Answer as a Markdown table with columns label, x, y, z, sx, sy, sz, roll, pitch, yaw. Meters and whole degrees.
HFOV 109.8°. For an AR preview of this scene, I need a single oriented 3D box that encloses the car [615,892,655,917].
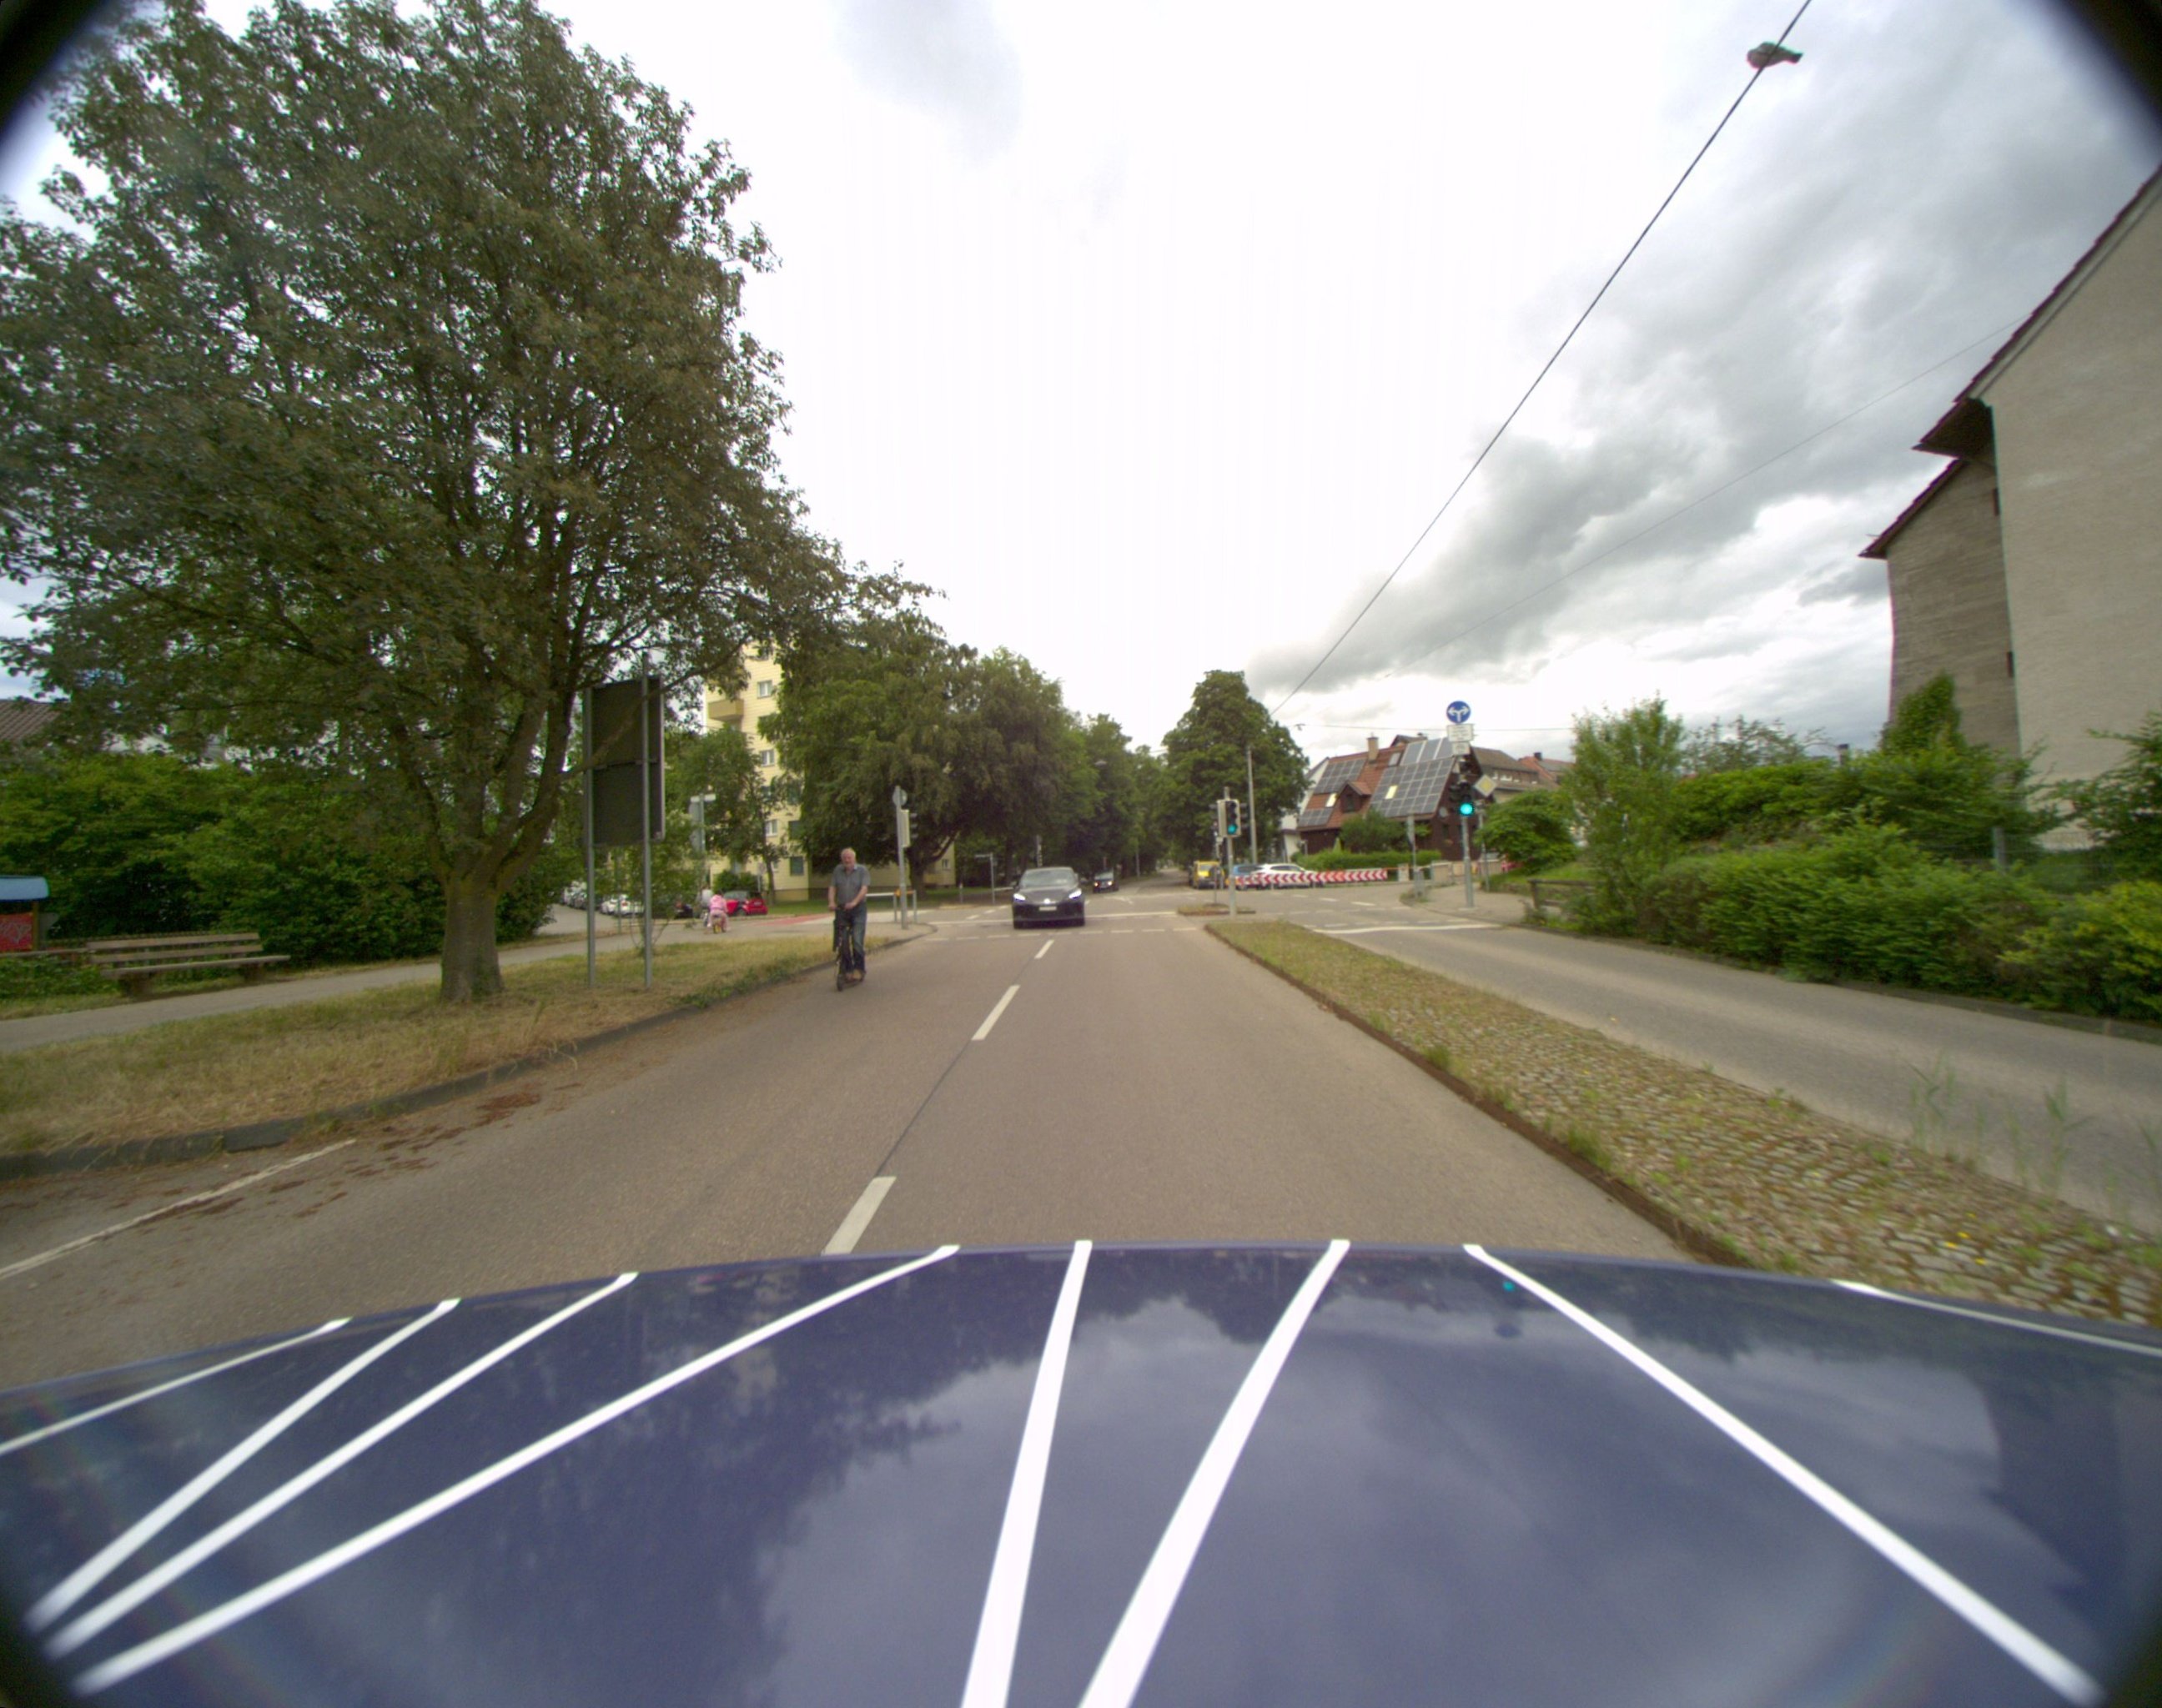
| label | x | y | z | sx | sy | sz | roll | pitch | yaw |
| --- | --- | --- | --- | --- | --- | --- | --- | --- | --- |
| car | -28.570 | 3.204 | 48.599 | 1.798 | 1.425 | 4.062 | -1 | -1 | -36 |

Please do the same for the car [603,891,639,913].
| label | x | y | z | sx | sy | sz | roll | pitch | yaw |
| --- | --- | --- | --- | --- | --- | --- | --- | --- | --- |
| car | -32.337 | 3.345 | 53.361 | 1.798 | 1.346 | 4.062 | -1 | -1 | -36 |

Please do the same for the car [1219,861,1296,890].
| label | x | y | z | sx | sy | sz | roll | pitch | yaw |
| --- | --- | --- | --- | --- | --- | --- | --- | --- | --- |
| car | 10.721 | 1.324 | 46.269 | 4.176 | 1.537 | 1.846 | -2 | -2 | -2 |

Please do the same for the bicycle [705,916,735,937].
| label | x | y | z | sx | sy | sz | roll | pitch | yaw |
| --- | --- | --- | --- | --- | --- | --- | --- | --- | --- |
| bicycle | -9.603 | 1.923 | 20.227 | 0.520 | 0.494 | 0.988 | -1 | -3 | -14 |

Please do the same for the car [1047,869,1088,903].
| label | x | y | z | sx | sy | sz | roll | pitch | yaw |
| --- | --- | --- | --- | --- | --- | --- | --- | --- | --- |
| car | -0.664 | 1.637 | 39.796 | 1.814 | 1.520 | 4.001 | -3 | 0 | 3 |

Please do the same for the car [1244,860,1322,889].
| label | x | y | z | sx | sy | sz | roll | pitch | yaw |
| --- | --- | --- | --- | --- | --- | --- | --- | --- | --- |
| car | 11.646 | 1.183 | 43.922 | 3.905 | 1.463 | 1.845 | -2 | -2 | -9 |

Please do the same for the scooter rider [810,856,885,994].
| label | x | y | z | sx | sy | sz | roll | pitch | yaw |
| --- | --- | --- | --- | --- | --- | --- | --- | --- | --- |
| scooter rider | -3.128 | 0.926 | 10.285 | 0.683 | 1.719 | 1.196 | -3 | -2 | -6 |

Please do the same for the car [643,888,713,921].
| label | x | y | z | sx | sy | sz | roll | pitch | yaw |
| --- | --- | --- | --- | --- | --- | --- | --- | --- | --- |
| car | -22.256 | 2.782 | 41.922 | 3.816 | 1.581 | 1.822 | -5 | -1 | 35 |

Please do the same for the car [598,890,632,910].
| label | x | y | z | sx | sy | sz | roll | pitch | yaw |
| --- | --- | --- | --- | --- | --- | --- | --- | --- | --- |
| car | -35.449 | 3.481 | 57.762 | 1.798 | 1.403 | 4.062 | -1 | -1 | -36 |

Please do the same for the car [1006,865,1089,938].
| label | x | y | z | sx | sy | sz | roll | pitch | yaw |
| --- | --- | --- | --- | --- | --- | --- | --- | --- | --- |
| car | -0.757 | 1.132 | 19.735 | 1.804 | 1.541 | 4.299 | -2 | 0 | 1 |

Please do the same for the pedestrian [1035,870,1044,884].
| label | x | y | z | sx | sy | sz | roll | pitch | yaw |
| --- | --- | --- | --- | --- | --- | --- | --- | --- | --- |
| pedestrian | -4.243 | 2.398 | 77.995 | 0.688 | 1.373 | 0.606 | -2 | 0 | 9 |

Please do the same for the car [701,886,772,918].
| label | x | y | z | sx | sy | sz | roll | pitch | yaw |
| --- | --- | --- | --- | --- | --- | --- | --- | --- | --- |
| car | -18.005 | 2.506 | 39.751 | 2.916 | 1.497 | 1.698 | -4 | -2 | 14 |

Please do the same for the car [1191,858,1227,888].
| label | x | y | z | sx | sy | sz | roll | pitch | yaw |
| --- | --- | --- | --- | --- | --- | --- | --- | --- | --- |
| car | 9.102 | 1.365 | 54.383 | 1.921 | 1.977 | 4.802 | -2 | -1 | 3 |

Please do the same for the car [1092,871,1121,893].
| label | x | y | z | sx | sy | sz | roll | pitch | yaw |
| --- | --- | --- | --- | --- | --- | --- | --- | --- | --- |
| car | 2.049 | 2.163 | 60.288 | 1.998 | 1.585 | 4.002 | -2 | -1 | 5 |

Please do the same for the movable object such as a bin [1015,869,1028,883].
| label | x | y | z | sx | sy | sz | roll | pitch | yaw |
| --- | --- | --- | --- | --- | --- | --- | --- | --- | --- |
| movable object such as a bin | -6.933 | 2.586 | 88.490 | 1.277 | 1.632 | 1.021 | -1 | 1 | 6 |

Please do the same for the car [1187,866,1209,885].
| label | x | y | z | sx | sy | sz | roll | pitch | yaw |
| --- | --- | --- | --- | --- | --- | --- | --- | --- | --- |
| car | 10.147 | 1.814 | 65.581 | 1.748 | 1.442 | 4.597 | -2 | -1 | 9 |

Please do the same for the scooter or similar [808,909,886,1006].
| label | x | y | z | sx | sy | sz | roll | pitch | yaw |
| --- | --- | --- | --- | --- | --- | --- | --- | --- | --- |
| scooter or similar | -3.120 | 1.353 | 10.247 | 0.683 | 1.132 | 1.459 | -3 | -2 | -6 |

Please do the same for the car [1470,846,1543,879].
| label | x | y | z | sx | sy | sz | roll | pitch | yaw |
| --- | --- | --- | --- | --- | --- | --- | --- | --- | --- |
| car | 21.115 | 0.422 | 37.676 | 3.691 | 1.480 | 1.771 | -1 | -2 | -38 |

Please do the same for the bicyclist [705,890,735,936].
| label | x | y | z | sx | sy | sz | roll | pitch | yaw |
| --- | --- | --- | --- | --- | --- | --- | --- | --- | --- |
| bicyclist | -9.607 | 1.564 | 20.253 | 0.520 | 1.179 | 0.967 | -2 | -2 | -14 |

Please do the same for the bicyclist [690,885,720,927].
| label | x | y | z | sx | sy | sz | roll | pitch | yaw |
| --- | --- | --- | --- | --- | --- | --- | --- | --- | --- |
| bicyclist | -10.778 | 1.475 | 21.813 | 0.642 | 1.155 | 0.802 | -2 | 0 | -19 |

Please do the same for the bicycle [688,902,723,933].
| label | x | y | z | sx | sy | sz | roll | pitch | yaw |
| --- | --- | --- | --- | --- | --- | --- | --- | --- | --- |
| bicycle | -10.743 | 1.812 | 21.777 | 0.642 | 0.754 | 1.678 | -2 | -1 | -19 |

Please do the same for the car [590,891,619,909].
| label | x | y | z | sx | sy | sz | roll | pitch | yaw |
| --- | --- | --- | --- | --- | --- | --- | --- | --- | --- |
| car | -41.177 | 3.959 | 65.595 | 1.798 | 1.403 | 4.062 | -1 | -1 | -36 |
